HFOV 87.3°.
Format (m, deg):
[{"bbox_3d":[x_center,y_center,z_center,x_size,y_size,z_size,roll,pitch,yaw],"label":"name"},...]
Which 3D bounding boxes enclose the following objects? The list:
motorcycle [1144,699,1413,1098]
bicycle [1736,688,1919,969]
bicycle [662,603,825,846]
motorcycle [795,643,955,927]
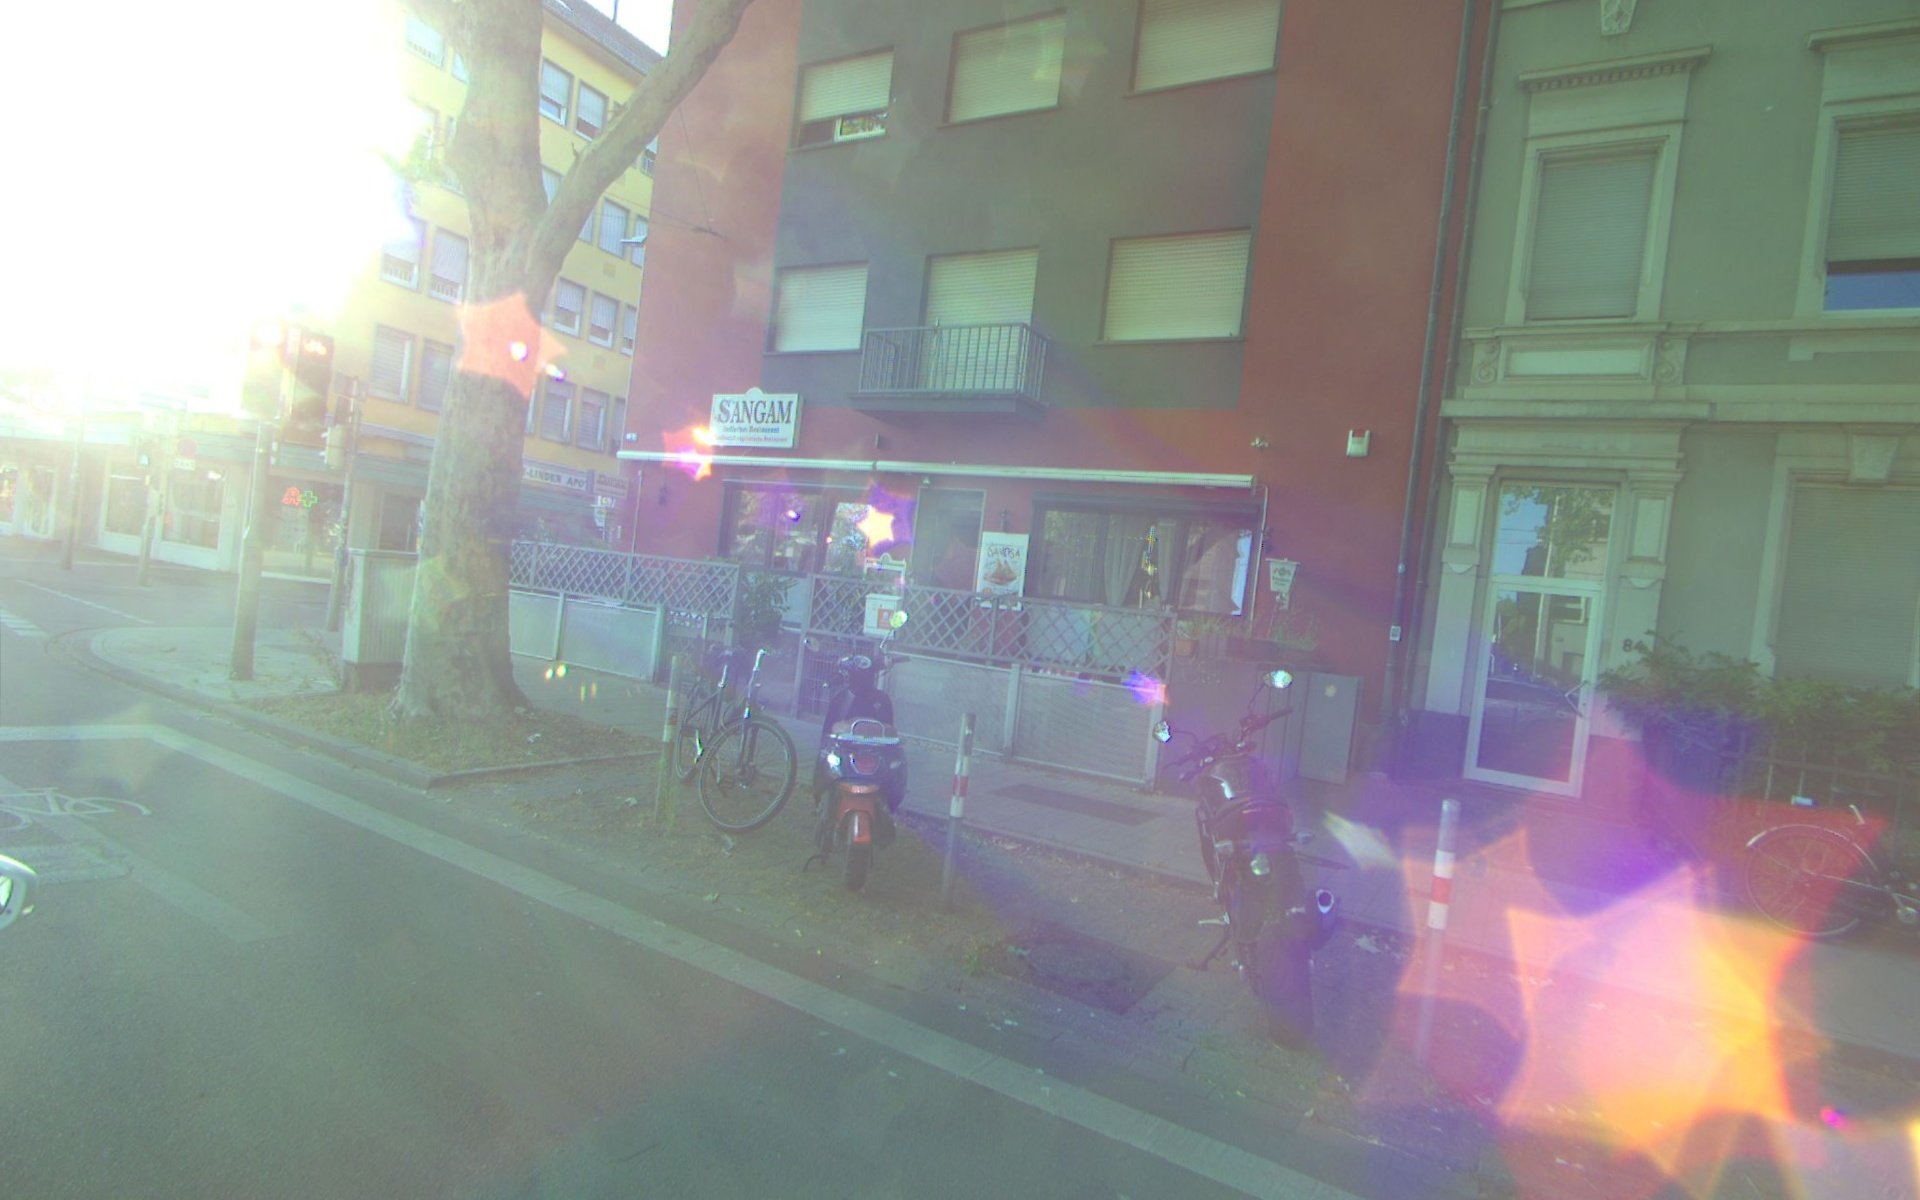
[{"bbox_3d":[1.307,1.148,4.624,0.752,1.077,2.212,7,2,9],"label":"motorcycle"},{"bbox_3d":[5.855,1.370,5.511,2.356,1.443,0.608,6,-1,32],"label":"bicycle"},{"bbox_3d":[-1.502,0.738,6.685,0.686,1.219,1.837,8,2,-20],"label":"bicycle"},{"bbox_3d":[-0.553,0.912,5.659,0.591,1.166,1.994,6,0,-10],"label":"motorcycle"}]
